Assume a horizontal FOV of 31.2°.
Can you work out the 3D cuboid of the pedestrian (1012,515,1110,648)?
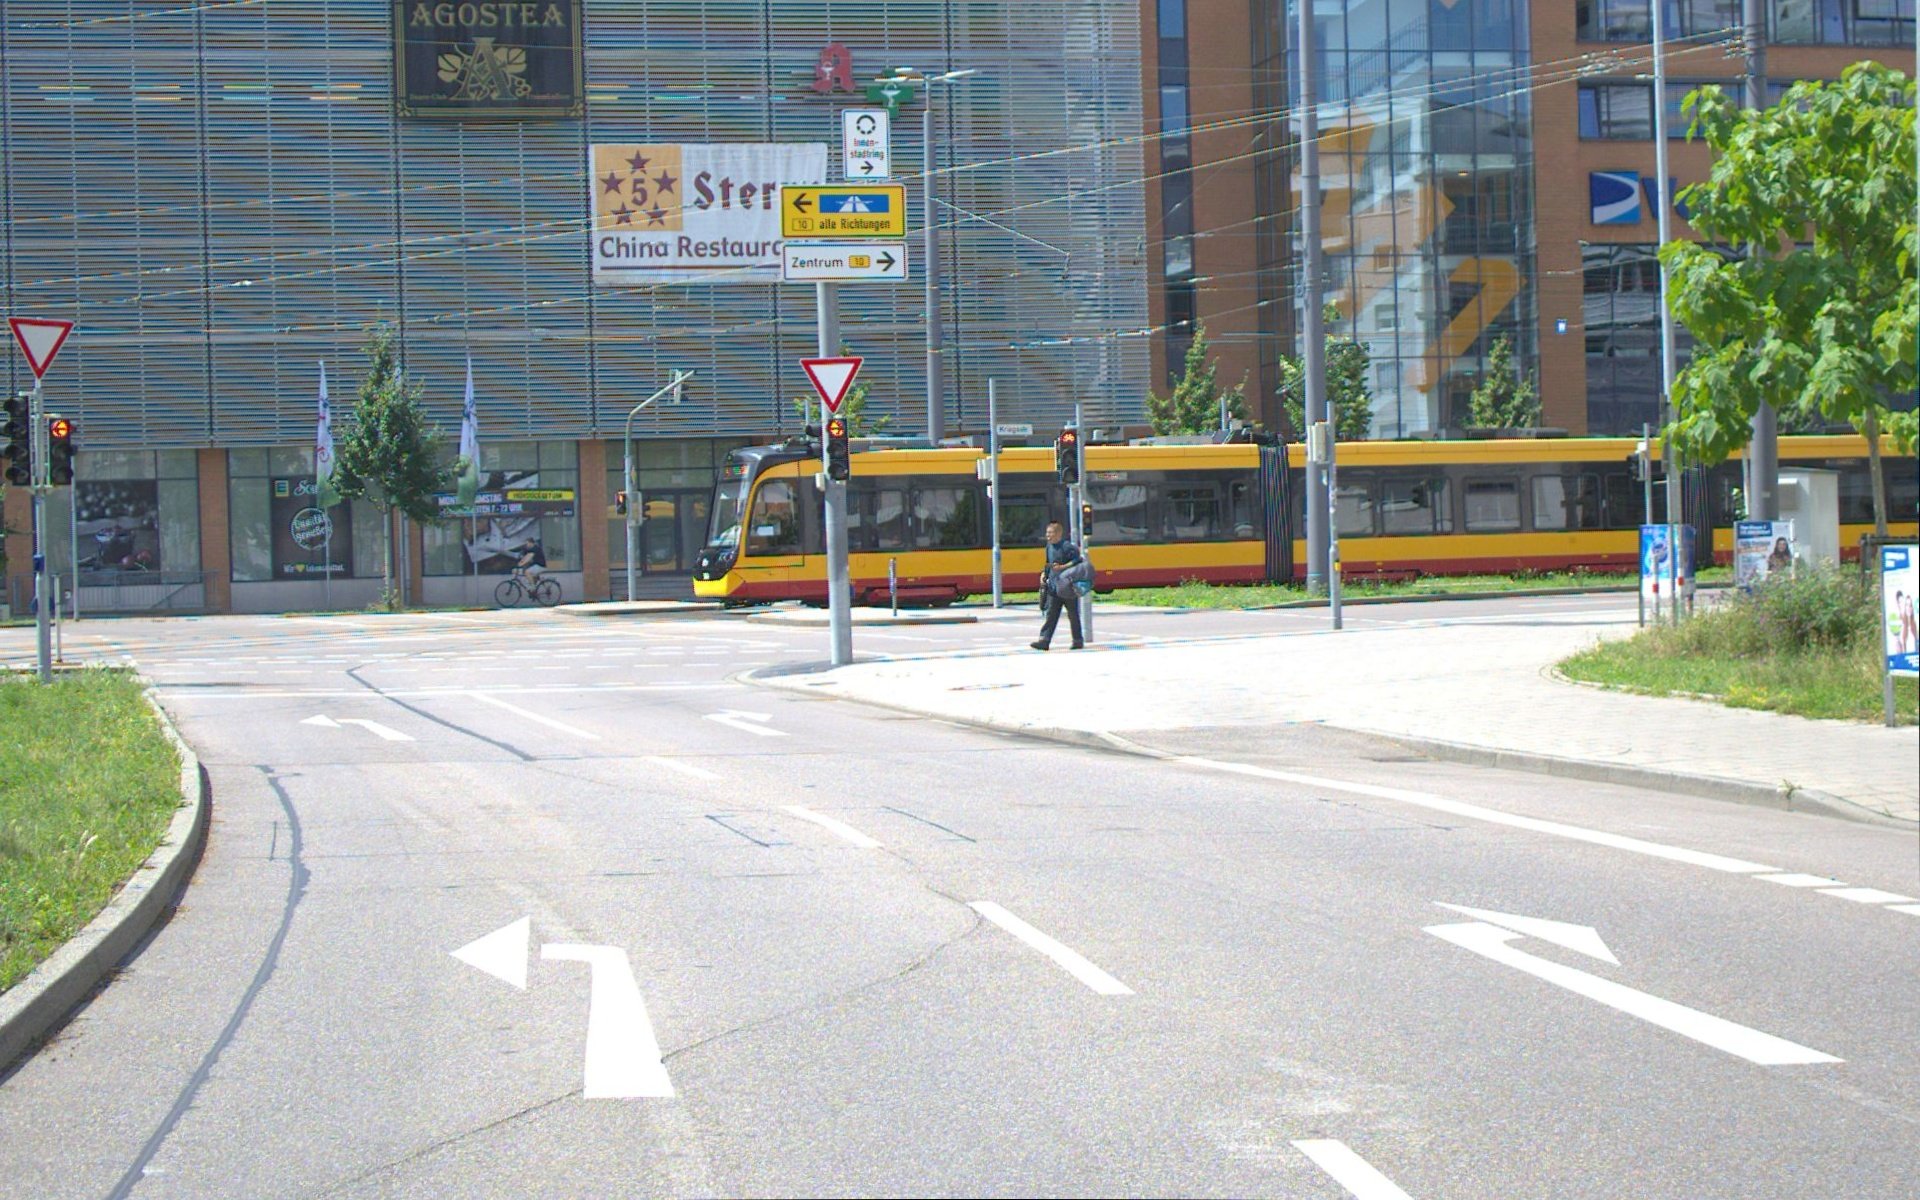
[{"bbox_3d":[1.322,-0.236,45.191,0.806,1.696,0.918,-3,1,-41],"label":"pedestrian"}]

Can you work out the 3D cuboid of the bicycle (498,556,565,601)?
[{"bbox_3d":[-11.714,-0.592,93.960,1.760,1.219,0.584,-1,1,-12],"label":"bicycle"}]

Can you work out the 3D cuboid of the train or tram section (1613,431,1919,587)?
[{"bbox_3d":[21.963,-2.201,83.147,12.591,3.608,3.066,-1,1,-23],"label":"train or tram section"}]

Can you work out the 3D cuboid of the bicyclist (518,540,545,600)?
[{"bbox_3d":[-11.709,-0.819,93.961,0.662,1.618,0.551,0,1,-12],"label":"bicyclist"}]

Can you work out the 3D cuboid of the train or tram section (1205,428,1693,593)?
[{"bbox_3d":[11.169,-2.040,78.204,10.954,3.591,3.066,-1,1,-23],"label":"train or tram section"}]

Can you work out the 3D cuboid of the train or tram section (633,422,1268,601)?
[{"bbox_3d":[-0.063,-1.895,73.250,13.454,3.587,3.227,-1,1,-26],"label":"train or tram section"}]
